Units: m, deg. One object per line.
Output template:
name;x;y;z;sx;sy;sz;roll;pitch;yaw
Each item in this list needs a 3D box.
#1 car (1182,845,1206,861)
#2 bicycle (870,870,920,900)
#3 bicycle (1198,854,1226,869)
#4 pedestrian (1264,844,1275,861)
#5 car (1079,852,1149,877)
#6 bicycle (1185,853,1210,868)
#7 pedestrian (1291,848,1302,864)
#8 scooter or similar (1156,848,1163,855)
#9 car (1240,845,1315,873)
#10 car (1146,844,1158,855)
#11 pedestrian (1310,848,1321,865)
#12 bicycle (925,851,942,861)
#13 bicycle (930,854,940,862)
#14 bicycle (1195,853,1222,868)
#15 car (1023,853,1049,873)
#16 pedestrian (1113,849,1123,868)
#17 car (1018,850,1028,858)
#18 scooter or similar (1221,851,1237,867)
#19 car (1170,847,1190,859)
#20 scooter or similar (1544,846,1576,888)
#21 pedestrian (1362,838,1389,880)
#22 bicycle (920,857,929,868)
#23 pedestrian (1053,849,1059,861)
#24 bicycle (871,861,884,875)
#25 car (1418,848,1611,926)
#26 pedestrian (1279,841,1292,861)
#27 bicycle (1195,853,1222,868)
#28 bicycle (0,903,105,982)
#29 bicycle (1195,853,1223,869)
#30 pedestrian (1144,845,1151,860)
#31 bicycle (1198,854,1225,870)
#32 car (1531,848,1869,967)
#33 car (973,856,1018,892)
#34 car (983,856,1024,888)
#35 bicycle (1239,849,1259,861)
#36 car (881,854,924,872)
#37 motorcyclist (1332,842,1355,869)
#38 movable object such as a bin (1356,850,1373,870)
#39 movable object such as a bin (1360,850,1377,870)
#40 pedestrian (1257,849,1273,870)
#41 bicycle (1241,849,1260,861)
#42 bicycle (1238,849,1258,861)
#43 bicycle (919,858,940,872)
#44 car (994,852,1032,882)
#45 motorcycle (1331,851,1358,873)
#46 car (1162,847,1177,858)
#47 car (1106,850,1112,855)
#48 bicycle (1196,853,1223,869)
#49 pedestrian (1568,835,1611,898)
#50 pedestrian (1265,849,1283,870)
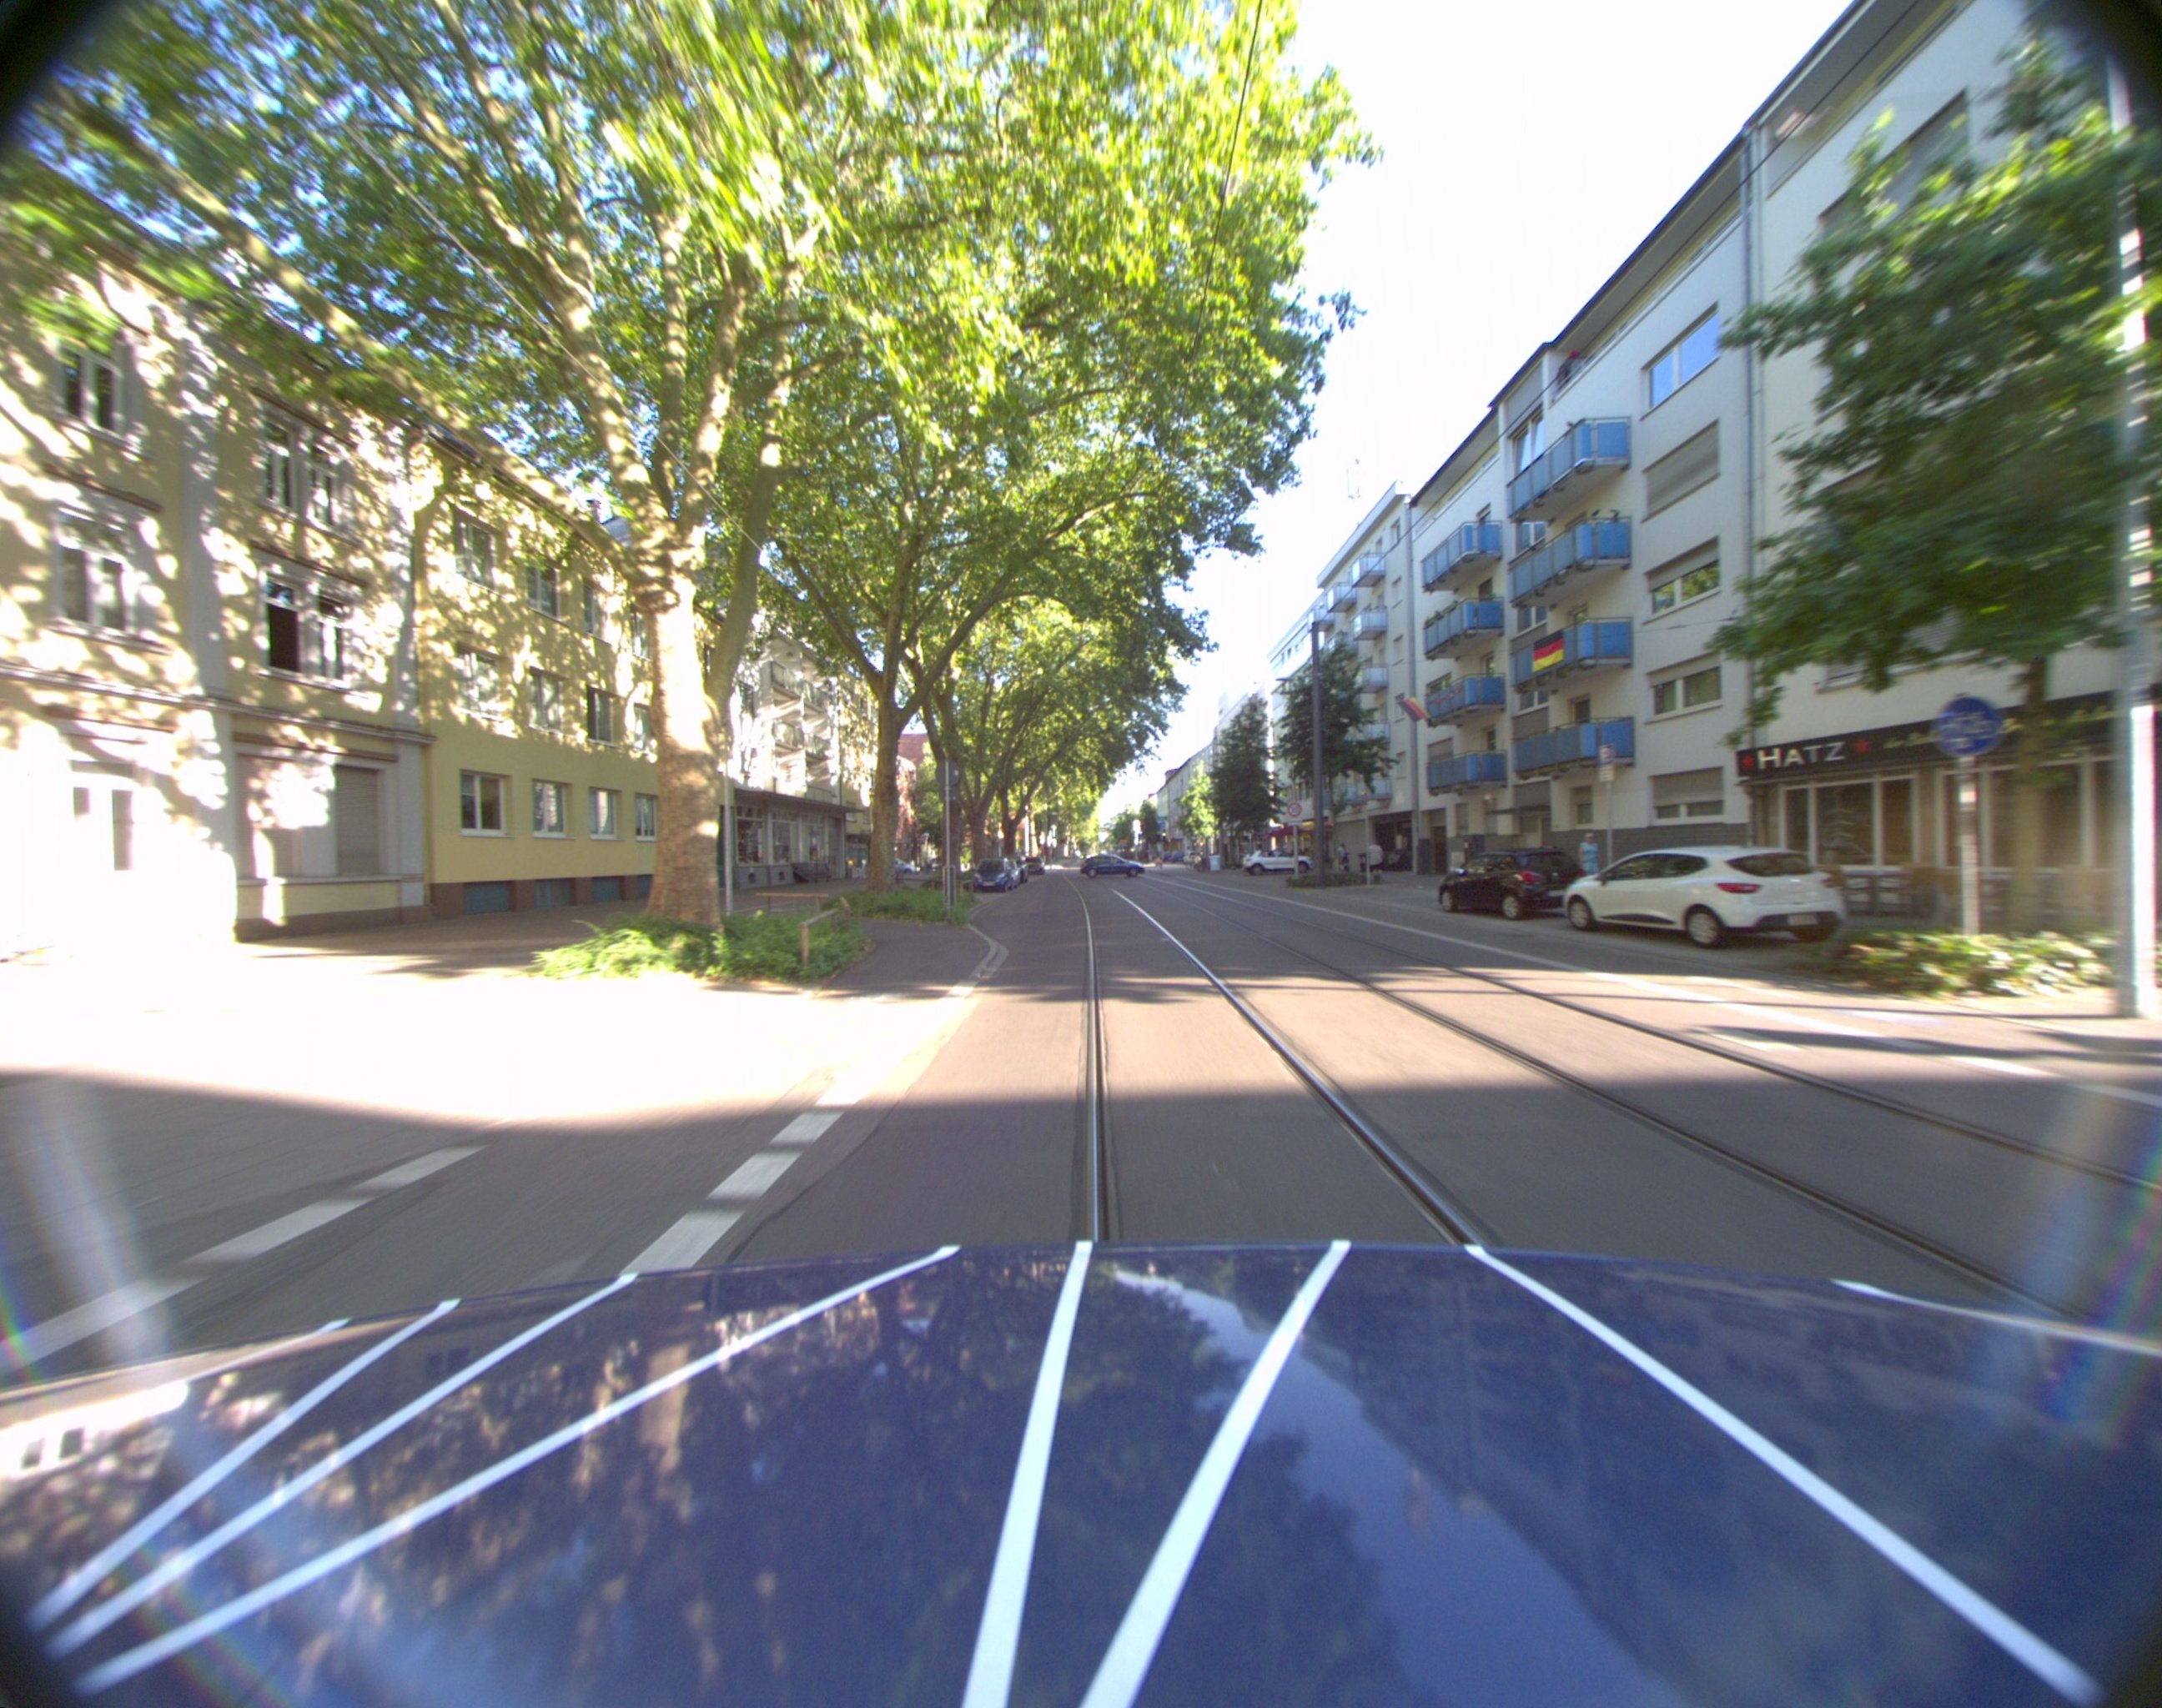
car;12.722;-0.103;85.752;1.883;1.641;4.357;-3;0;0
bicycle;-6.930;1.142;28.276;1.964;1.000;0.512;2;2;27
bicycle;9.299;0.523;53.969;1.834;1.001;0.657;-3;1;-4
pedestrian;16.460;-0.132;66.423;0.727;1.547;0.768;-1;1;-5
car;2.114;0.654;49.385;4.226;1.429;1.869;-2;1;-9
bicycle;8.822;0.488;57.671;1.696;1.001;0.657;-3;1;-4
pedestrian;15.779;0.128;55.615;0.514;1.191;0.562;-2;1;-28
scooter or similar;13.943;-0.436;134.415;0.447;1.167;1.272;-2;1;-36
car;11.653;0.277;45.220;4.022;1.467;1.852;-2;1;3
car;13.385;-0.806;142.723;1.808;1.923;4.049;-1;0;-1
pedestrian;16.777;0.189;54.433;0.563;1.191;0.624;-1;1;0
bicycle;-17.796;0.234;91.828;1.931;1.150;0.573;1;1;16
bicycle;-20.719;0.555;107.528;0.707;1.150;2.039;0;1;10
bicycle;9.350;0.494;55.747;1.834;1.001;0.657;-3;1;-4
car;-3.601;0.681;61.380;1.769;1.454;5.011;-1;0;-1
pedestrian;3.298;0.385;67.454;0.759;1.661;0.768;-1;1;-5
car;-11.867;-0.048;155.413;1.657;1.499;3.961;-1;0;1
scooter or similar;10.846;0.358;55.737;1.082;1.169;0.498;-3;1;-1
car;12.719;-0.174;97.857;1.961;1.535;4.388;-1;0;1
scooter or similar;15.102;0.386;23.976;0.376;1.282;1.237;0;1;8
pedestrian;12.255;0.197;31.600;0.765;1.681;0.794;-2;1;-1
bicycle;-16.666;0.863;80.937;0.601;1.150;1.698;0;1;4
pedestrian;-3.348;0.113;101.695;0.768;1.650;0.917;-1;1;0
bicycle;-14.897;1.002;55.711;0.572;0.991;1.779;0;1;-4
car;9.484;0.635;17.040;1.718;1.455;3.997;-3;1;-6
pedestrian;17.347;-0.270;64.402;0.769;1.650;0.749;-1;1;-7
bicycle;9.448;0.484;56.186;1.834;1.001;0.657;-3;1;-4
bicycle;-16.425;1.365;11.590;0.584;1.098;1.922;0;1;0
bicycle;9.242;0.514;54.782;1.834;1.058;0.657;-3;1;-4
pedestrian;7.345;-0.158;84.179;0.655;1.576;0.772;-1;1;1
bicycle;9.059;0.554;52.620;1.696;1.001;0.657;-3;1;-4
car;9.619;0.696;12.380;1.718;1.455;4.375;-5;1;-3
car;-3.865;0.886;34.686;1.567;1.510;2.910;0;1;3
car;-3.937;0.892;39.226;1.822;1.427;4.601;0;1;-3
bicycle;16.773;0.101;75.954;1.785;1.150;0.573;-1;1;32
car;-17.849;0.896;76.099;3.871;1.683;1.866;-1;1;1
motorcyclist;14.221;0.076;41.192;0.875;1.432;1.016;-1;1;2
movable object such as a bin;15.182;0.314;40.734;0.679;1.049;0.622;-1;1;2
movable object such as a bin;15.169;0.311;40.095;0.674;1.049;0.574;-1;1;2
pedestrian;11.753;0.353;48.556;0.714;1.290;0.746;-1;1;-13
bicycle;17.142;0.097;76.835;1.862;1.150;0.572;-1;1;5
bicycle;17.143;0.075;77.839;2.040;1.150;0.571;-2;1;-21
bicycle;-13.603;0.984;68.278;1.799;1.150;0.744;0;1;-21
car;-3.921;0.729;44.678;1.862;1.594;4.780;0;1;-1
motorcycle;14.240;0.416;41.144;0.851;1.157;1.915;-1;1;2
car;12.684;-0.223;109.087;1.799;1.455;4.282;-1;0;1
car;8.947;-0.418;244.522;1.766;1.579;3.999;-1;0;0
bicycle;9.309;0.506;55.101;1.834;1.001;0.657;-3;1;-4
pedestrian;13.927;0.346;20.815;0.665;1.681;0.748;-2;1;-1
pedestrian;12.008;0.361;47.312;0.714;1.290;0.911;-1;1;-13
